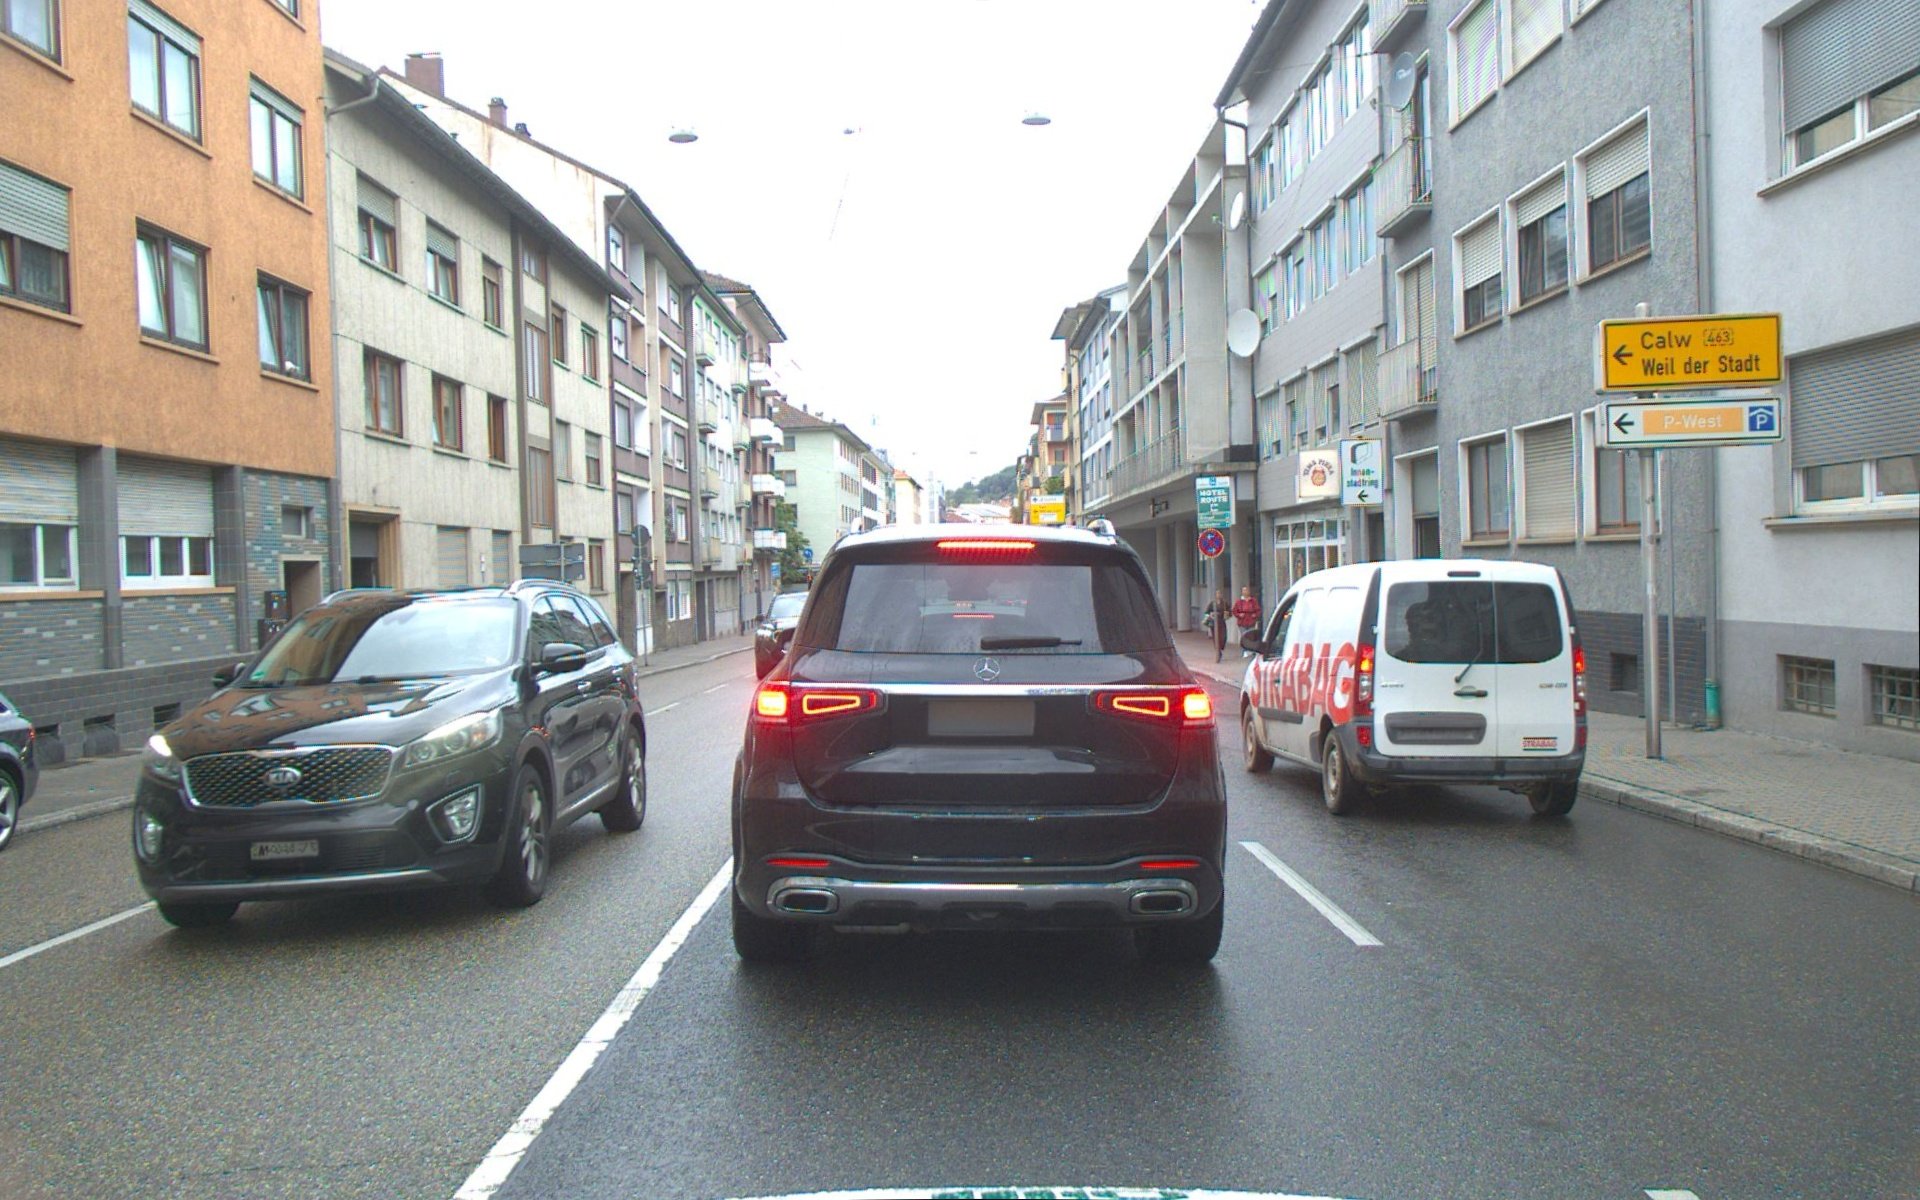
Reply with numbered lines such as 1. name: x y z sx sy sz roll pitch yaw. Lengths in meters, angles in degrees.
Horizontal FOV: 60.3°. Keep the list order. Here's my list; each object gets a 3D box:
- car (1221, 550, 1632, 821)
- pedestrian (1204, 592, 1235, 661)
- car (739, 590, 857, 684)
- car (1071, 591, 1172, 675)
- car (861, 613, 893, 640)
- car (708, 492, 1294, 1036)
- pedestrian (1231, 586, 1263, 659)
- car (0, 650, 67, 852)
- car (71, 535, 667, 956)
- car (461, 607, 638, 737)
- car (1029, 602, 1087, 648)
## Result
1. car: 3.485 0.568 13.388 1.901 1.806 4.745 0 0 -1
2. pedestrian: 5.833 0.589 37.241 0.496 1.526 0.562 -4 0 -2
3. car: -3.408 0.735 35.665 2.083 1.750 4.816 -3 0 -1
4. car: 3.329 0.647 34.737 1.771 1.634 4.212 0 0 1
5. car: -4.900 1.571 97.754 1.732 1.369 3.886 -5 0 -3
6. car: 0.102 0.563 7.678 1.984 1.837 3.999 1 0 -1
7. pedestrian: 6.498 0.497 37.460 0.548 1.606 0.526 -4 0 3
8. car: -7.965 1.130 10.899 1.759 1.463 4.525 1 0 -1
9. car: -3.033 0.642 9.626 1.799 1.757 4.474 -4 0 -1
10. car: -5.870 0.958 24.131 1.762 1.612 4.311 -3 0 -5
11. car: 3.270 0.801 55.938 1.588 1.455 4.311 1 0 -1
